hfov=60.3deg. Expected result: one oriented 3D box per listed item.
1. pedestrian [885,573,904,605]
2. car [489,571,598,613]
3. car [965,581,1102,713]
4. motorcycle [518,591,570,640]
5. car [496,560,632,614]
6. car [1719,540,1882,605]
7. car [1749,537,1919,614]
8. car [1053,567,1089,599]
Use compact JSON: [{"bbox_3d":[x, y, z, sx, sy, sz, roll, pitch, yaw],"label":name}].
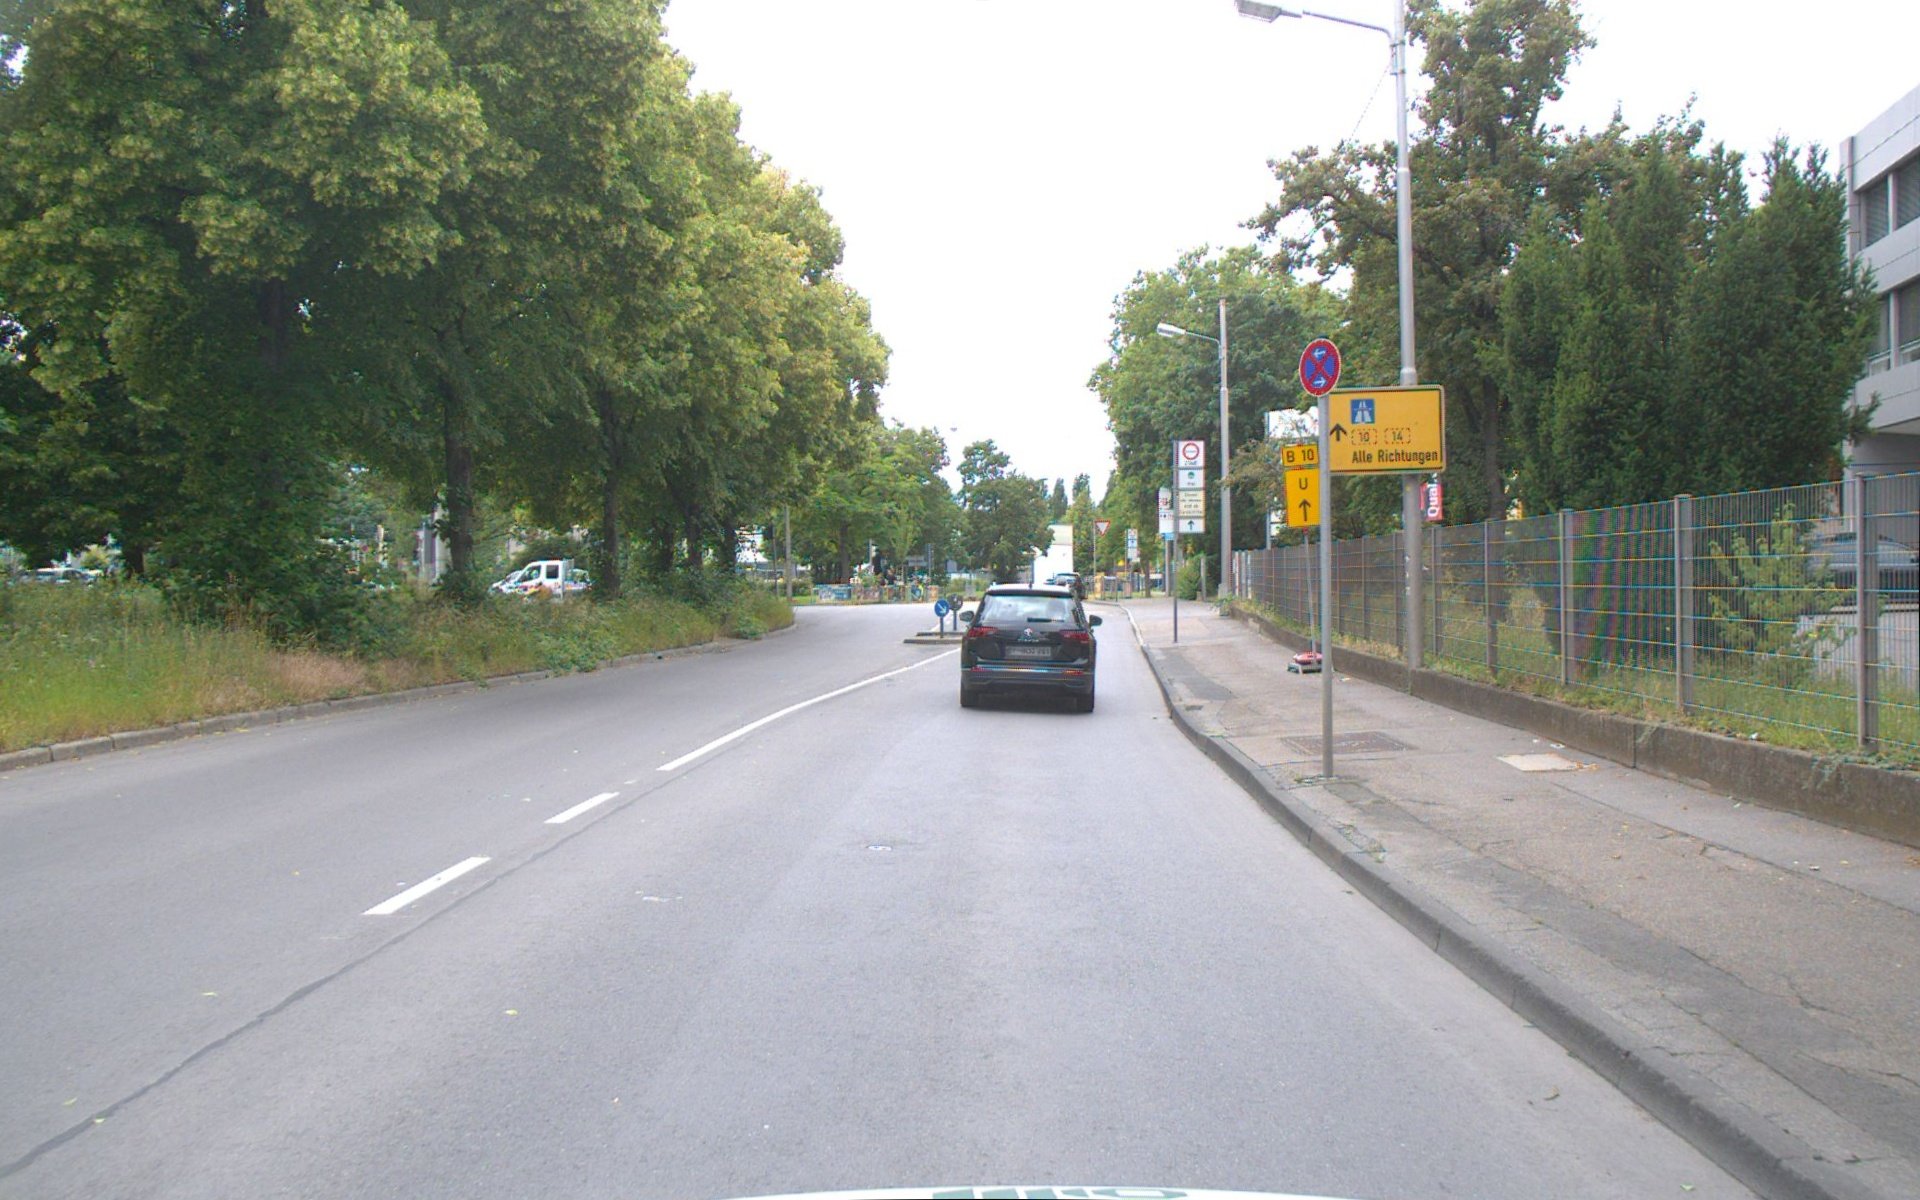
[{"bbox_3d":[-3.670,-0.640,92.548,0.731,1.772,0.722,0,1,45],"label":"pedestrian"},{"bbox_3d":[-20.892,-0.419,83.033,4.872,1.976,2.050,-1,1,9],"label":"car"},{"bbox_3d":[1.019,0.572,22.709,1.703,1.646,3.643,1,1,3],"label":"car"},{"bbox_3d":[-10.655,0.373,42.420,0.553,1.188,2.037,-1,1,8],"label":"motorcycle"},{"bbox_3d":[-18.933,-0.623,79.305,5.948,2.429,2.394,-1,1,-2],"label":"car"},{"bbox_3d":[23.186,-0.757,45.749,3.621,1.703,1.860,-1,1,10],"label":"car"},{"bbox_3d":[19.469,-0.520,35.060,4.757,1.561,2.018,-1,1,32],"label":"car"},{"bbox_3d":[5.770,-0.891,85.805,1.623,1.601,3.831,-2,0,6],"label":"car"}]
